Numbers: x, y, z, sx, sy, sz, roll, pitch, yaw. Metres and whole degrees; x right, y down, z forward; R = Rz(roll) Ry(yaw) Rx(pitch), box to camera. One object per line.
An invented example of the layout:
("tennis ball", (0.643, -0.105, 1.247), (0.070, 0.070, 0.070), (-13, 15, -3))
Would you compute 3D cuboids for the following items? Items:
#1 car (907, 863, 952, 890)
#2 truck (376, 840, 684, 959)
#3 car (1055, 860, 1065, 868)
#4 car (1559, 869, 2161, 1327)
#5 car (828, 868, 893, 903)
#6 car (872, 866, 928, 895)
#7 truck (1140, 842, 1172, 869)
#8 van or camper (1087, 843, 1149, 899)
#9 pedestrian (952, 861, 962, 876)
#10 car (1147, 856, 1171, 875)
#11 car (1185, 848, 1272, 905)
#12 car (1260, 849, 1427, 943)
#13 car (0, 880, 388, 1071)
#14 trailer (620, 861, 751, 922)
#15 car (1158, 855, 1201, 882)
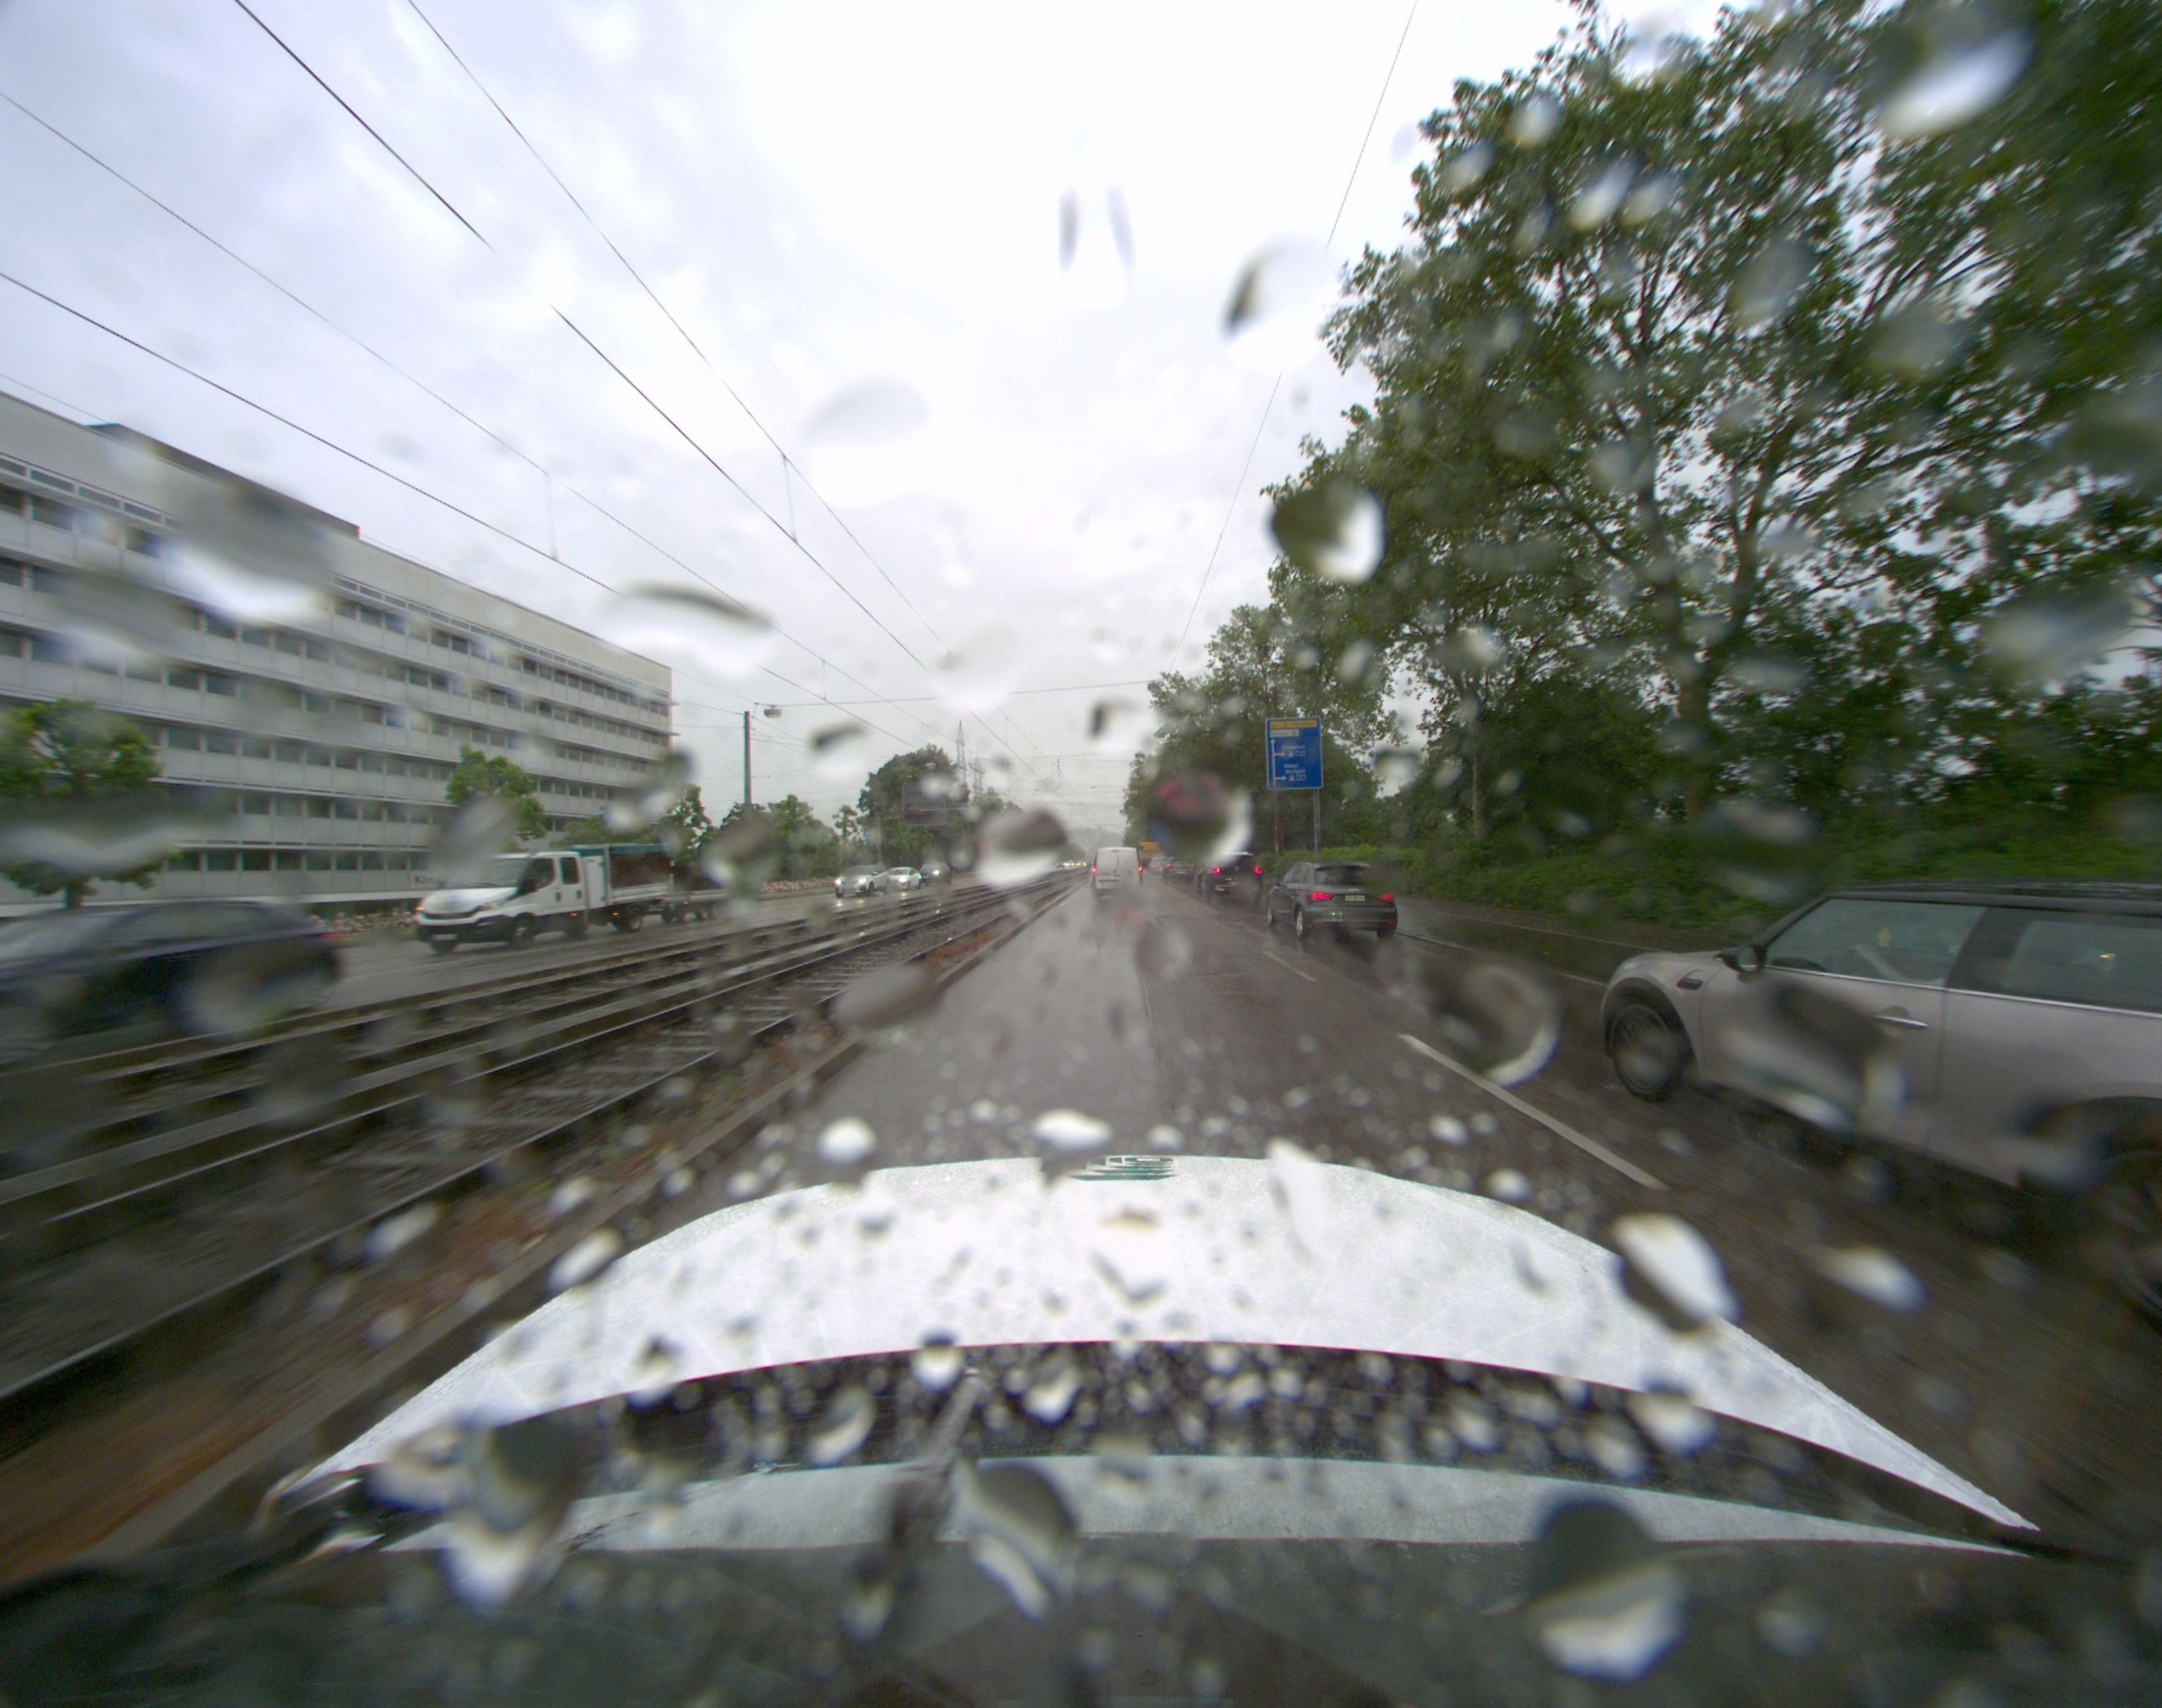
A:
("car", (-10.970, 1.603, 59.265), (1.985, 1.721, 4.886), (-3, 0, 3))
("truck", (-13.316, 0.967, 20.681), (2.424, 2.458, 7.228), (0, 0, 5))
("car", (-4.814, 2.344, 188.256), (1.984, 1.618, 4.258), (-2, 0, 4))
("car", (4.277, 0.799, 3.907), (1.785, 1.414, 3.854), (1, -1, 1))
("car", (-11.580, 1.605, 43.047), (1.763, 1.682, 4.696), (0, 0, 5))
("car", (-11.203, 1.592, 50.787), (1.984, 1.583, 4.773), (-3, 0, 5))
("truck", (8.062, 0.115, 88.212), (3.100, 2.773, 6.333), (-1, 0, 3))
("van or camper", (1.185, 0.525, 28.013), (1.987, 1.784, 4.000), (0, 1, 0))
("pedestrian", (-15.011, 1.706, 98.709), (0.848, 1.759, 1.121), (-2, -1, 3))
("car", (6.420, 0.940, 67.151), (1.810, 1.414, 3.782), (0, 0, 3))
("car", (4.875, 0.677, 27.576), (1.895, 1.717, 4.721), (-1, 0, -2))
("car", (4.785, 0.688, 15.484), (1.960, 1.528, 3.992), (-1, 0, 1))
("car", (-10.546, 1.175, 8.949), (1.811, 1.623, 4.539), (-2, -1, 3))
("trailer", (-12.751, 1.148, 26.562), (2.109, 1.793, 3.842), (0, 0, 5))
("car", (5.625, 0.801, 46.927), (1.814, 1.414, 3.773), (-1, 0, -4))
